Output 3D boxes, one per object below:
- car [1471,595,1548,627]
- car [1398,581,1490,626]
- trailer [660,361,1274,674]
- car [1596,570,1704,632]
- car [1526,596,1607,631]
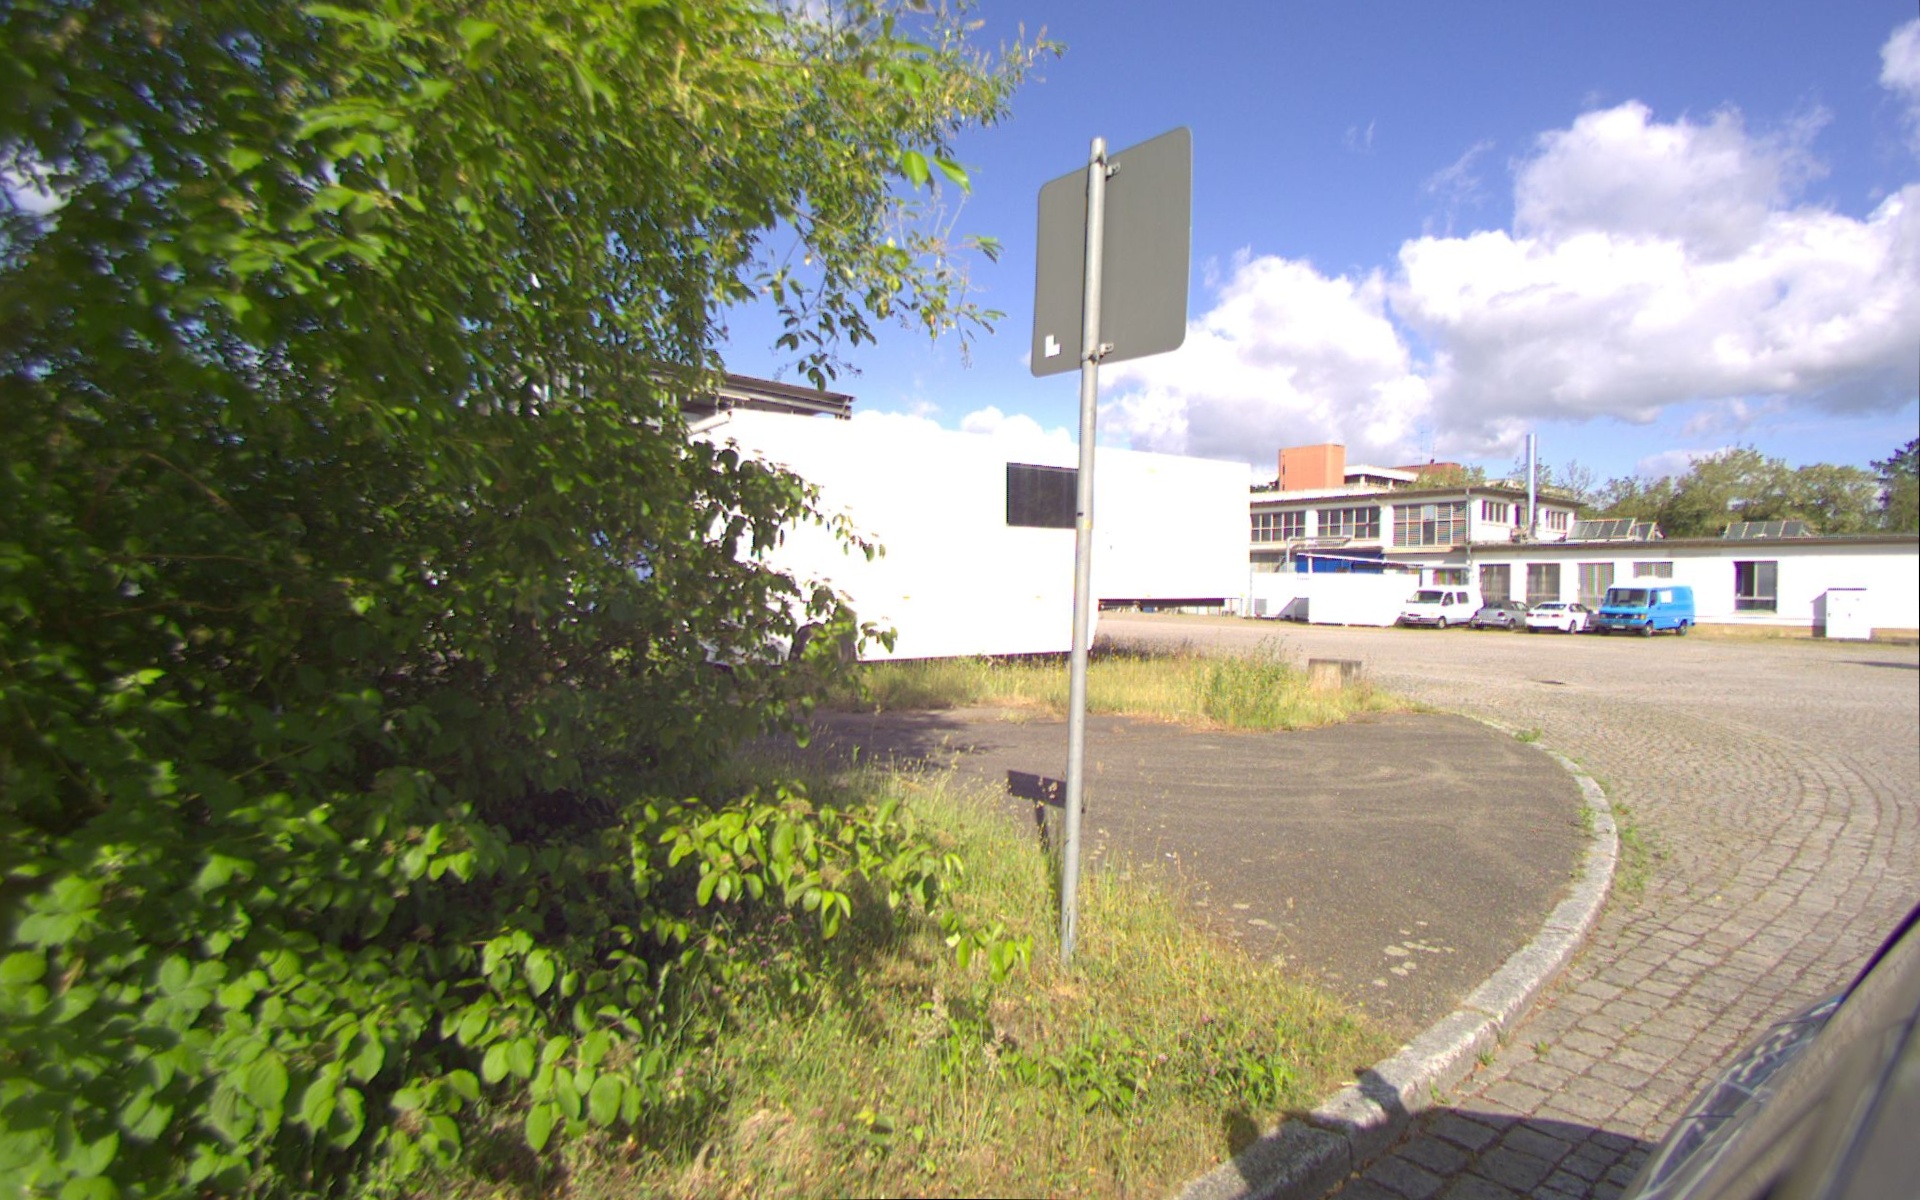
[{"bbox_3d":[25.924,0.510,47.717,3.758,1.416,1.693,0,1,-34],"label":"car"},{"bbox_3d":[23.764,0.114,49.650,4.712,2.107,2.010,-1,1,-34],"label":"car"},{"bbox_3d":[0.698,-1.031,17.017,10.678,3.960,2.781,0,0,-35],"label":"trailer"},{"bbox_3d":[29.526,0.046,43.262,5.138,2.514,2.090,0,0,-34],"label":"car"},{"bbox_3d":[26.875,0.565,44.814,3.667,1.423,1.738,-1,1,-34],"label":"car"}]
